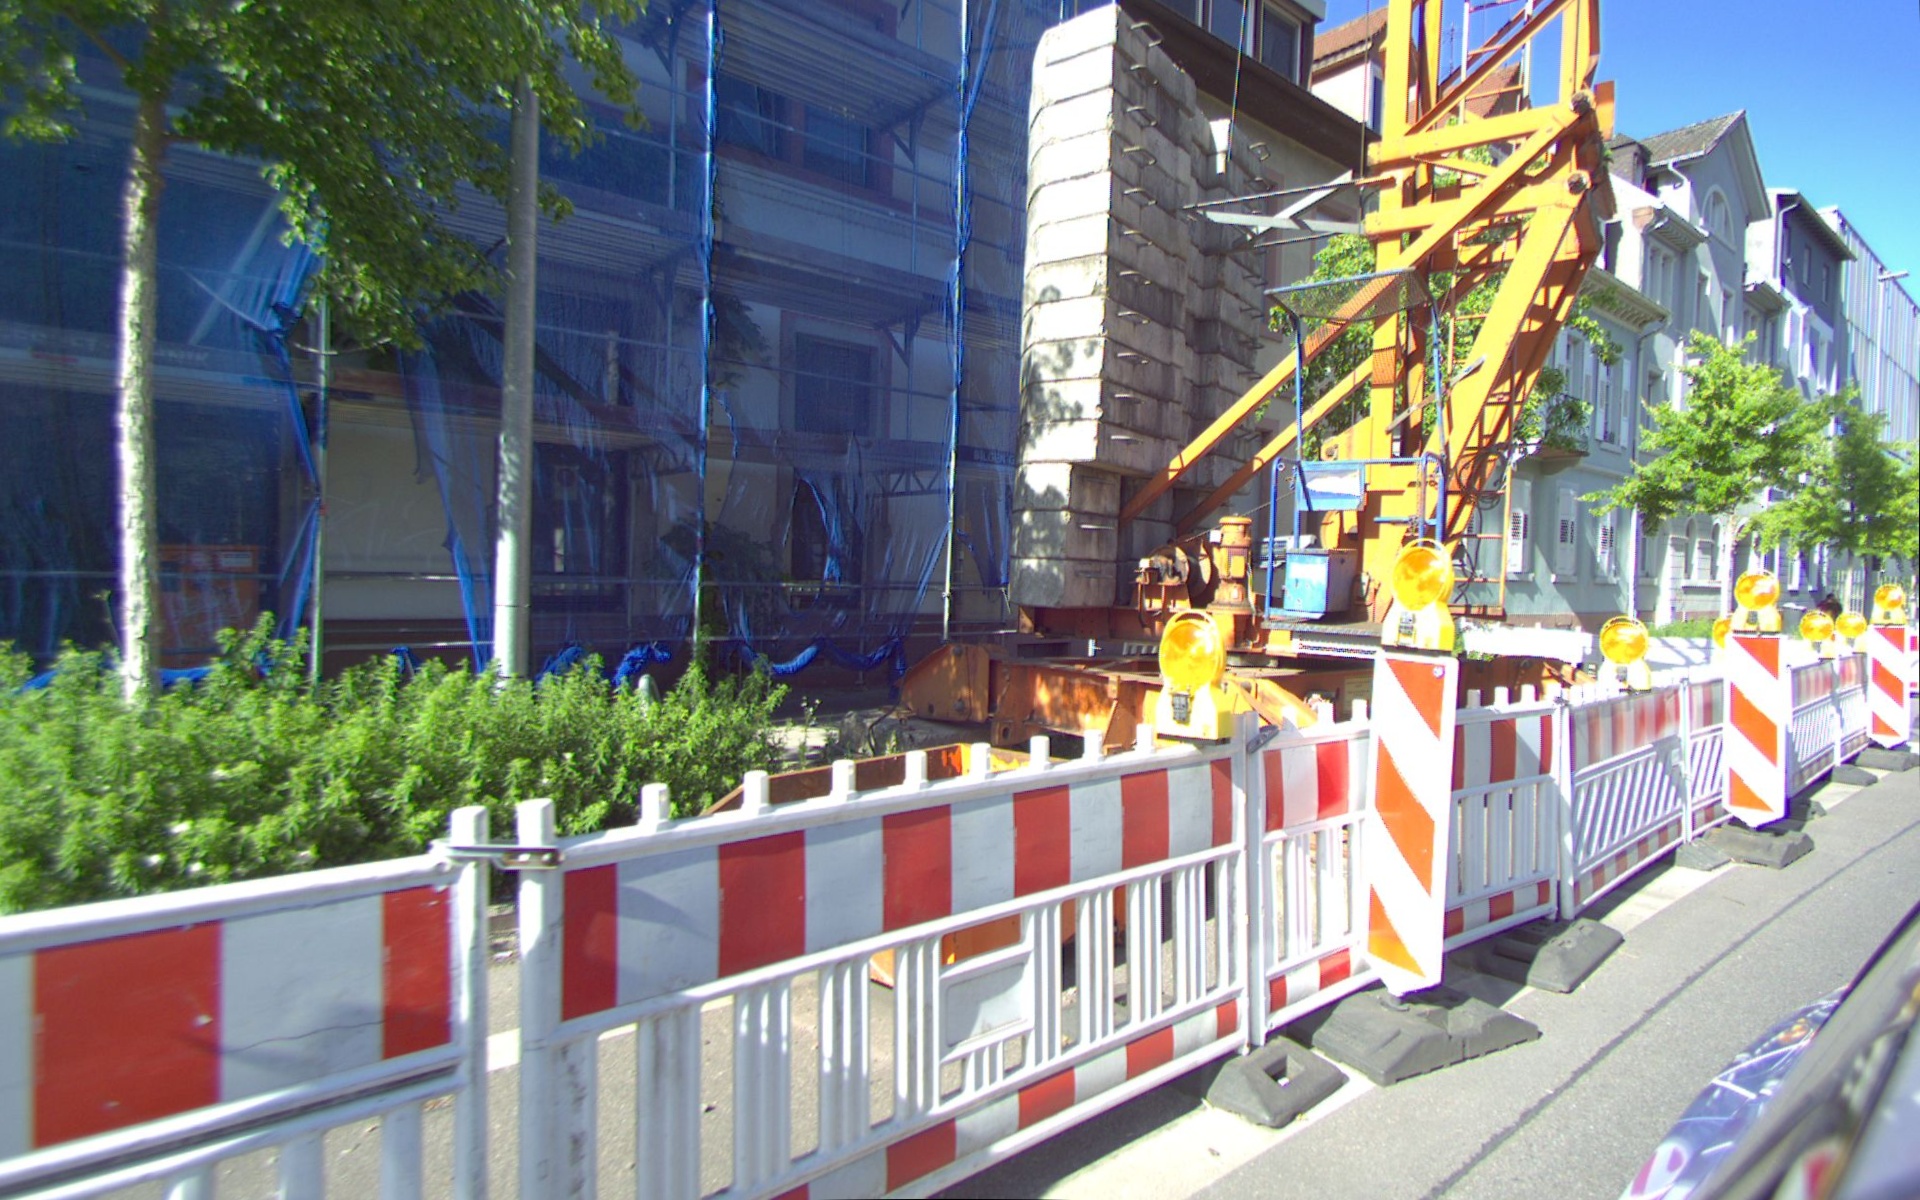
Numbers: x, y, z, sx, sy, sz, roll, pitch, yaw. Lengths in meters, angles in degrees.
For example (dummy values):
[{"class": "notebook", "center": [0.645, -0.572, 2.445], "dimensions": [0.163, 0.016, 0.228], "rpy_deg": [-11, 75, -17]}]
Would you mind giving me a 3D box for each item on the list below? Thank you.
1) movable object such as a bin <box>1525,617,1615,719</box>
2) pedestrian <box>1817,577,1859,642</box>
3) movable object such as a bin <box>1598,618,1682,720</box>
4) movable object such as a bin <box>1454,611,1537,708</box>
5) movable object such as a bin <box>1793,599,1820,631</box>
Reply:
[{"class": "movable object such as a bin", "center": [7.076, 0.768, 11.745], "dimensions": [0.717, 1.070, 0.597], "rpy_deg": [1, 5, -38]}, {"class": "pedestrian", "center": [26.823, 0.288, 30.934], "dimensions": [0.789, 1.953, 0.762], "rpy_deg": [1, 0, 29]}, {"class": "movable object such as a bin", "center": [7.615, 0.754, 11.336], "dimensions": [0.717, 1.071, 0.589], "rpy_deg": [1, 0, -38]}, {"class": "movable object such as a bin", "center": [6.572, 0.710, 12.414], "dimensions": [0.770, 1.070, 0.589], "rpy_deg": [0, 6, -43]}, {"class": "movable object such as a bin", "center": [30.153, 0.531, 36.060], "dimensions": [0.691, 1.122, 0.590], "rpy_deg": [1, 1, -38]}]
